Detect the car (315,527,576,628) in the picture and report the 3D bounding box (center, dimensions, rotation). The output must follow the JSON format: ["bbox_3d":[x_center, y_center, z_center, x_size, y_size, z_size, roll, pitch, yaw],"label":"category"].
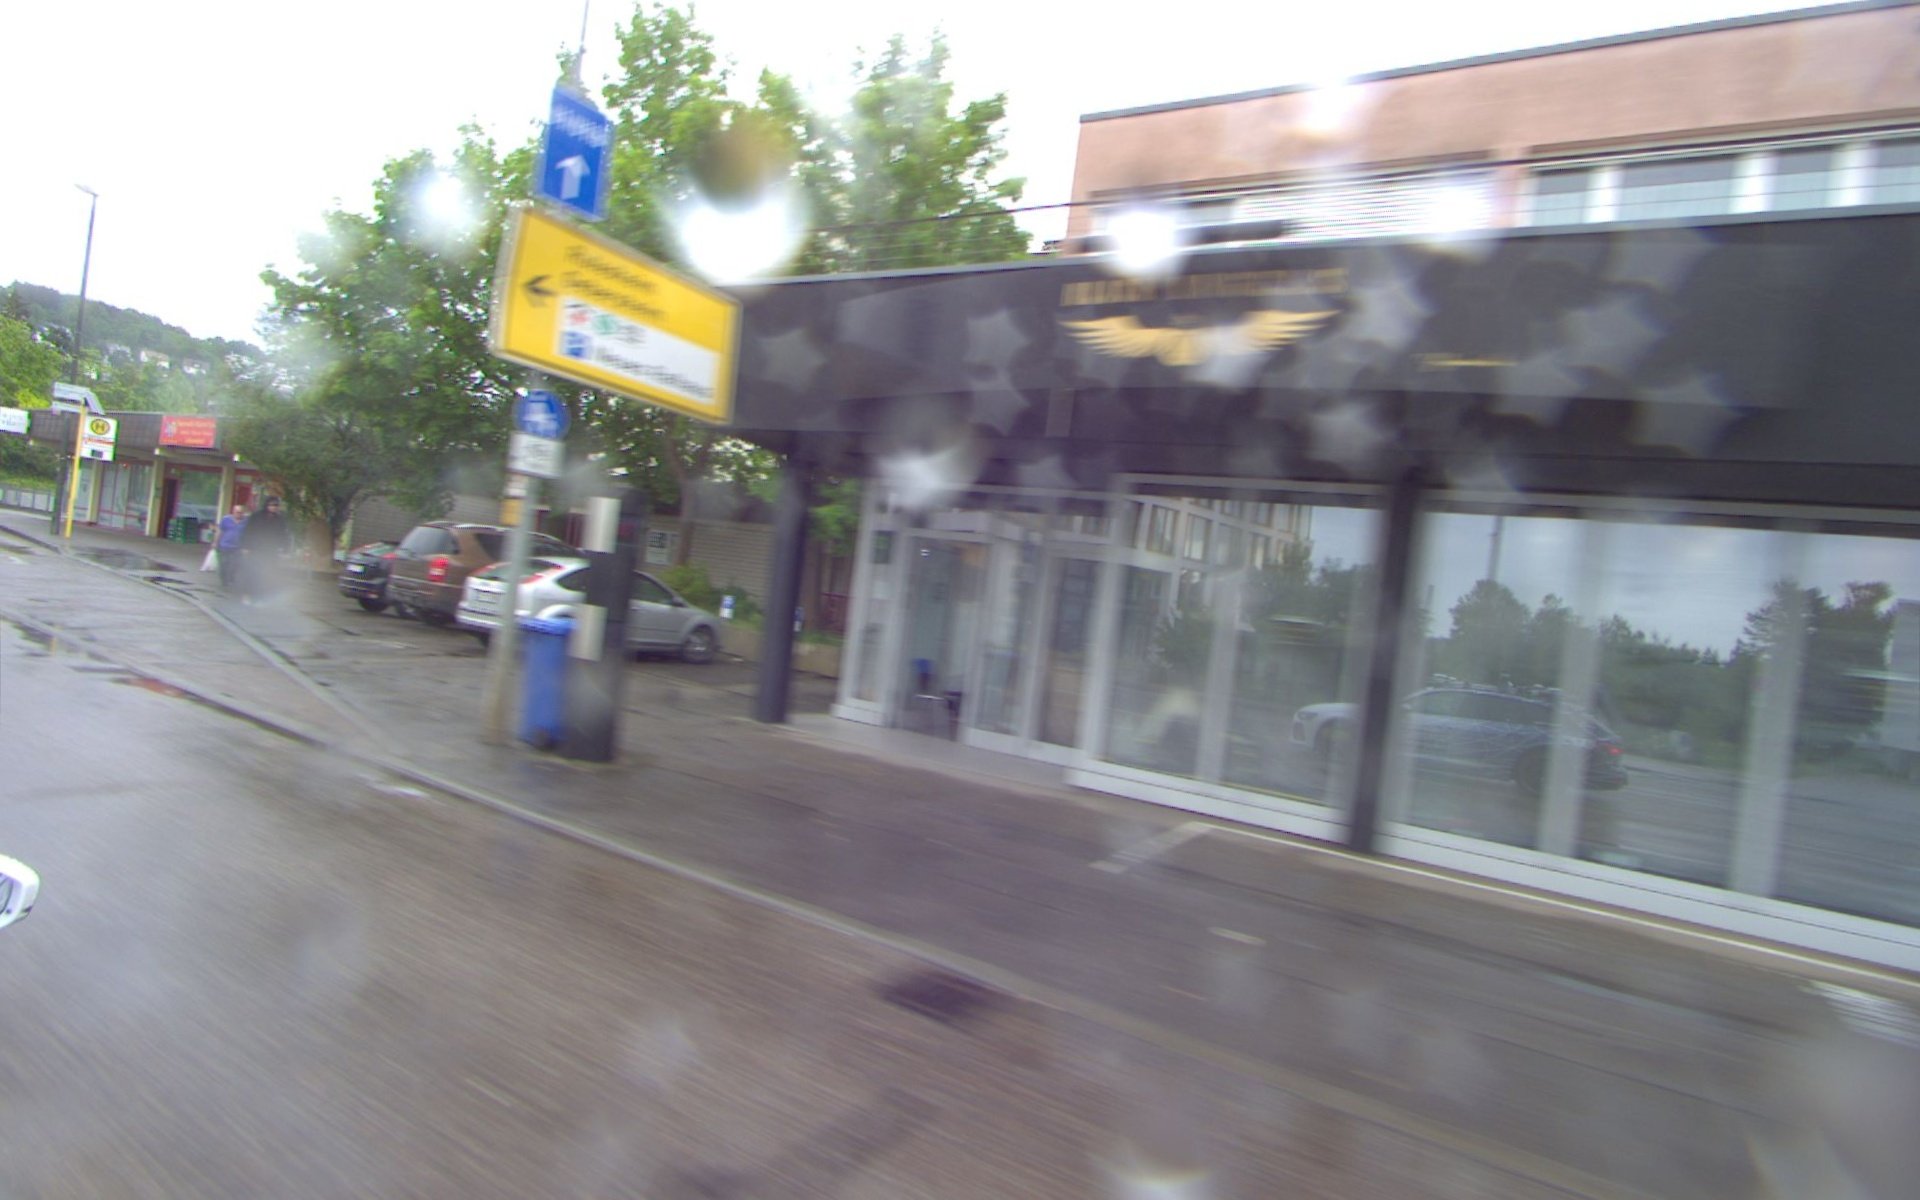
[{"bbox_3d":[-9.941,-0.378,19.747,1.773,1.472,4.152,7,0,32],"label":"car"}]

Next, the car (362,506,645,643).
[{"bbox_3d":[-8.002,-0.377,17.966,1.847,1.894,4.095,7,0,35],"label":"car"}]

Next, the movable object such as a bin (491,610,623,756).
[{"bbox_3d":[-3.388,0.686,8.466,0.687,1.088,0.636,9,2,34],"label":"movable object such as a bin"}]

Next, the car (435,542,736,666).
[{"bbox_3d":[-5.627,0.137,15.562,1.719,1.465,3.988,7,0,35],"label":"car"}]

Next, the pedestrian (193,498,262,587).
[{"bbox_3d":[-15.670,-1.222,21.526,0.747,1.759,0.875,8,2,32],"label":"pedestrian"}]

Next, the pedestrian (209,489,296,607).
[{"bbox_3d":[-11.871,-0.854,16.900,0.781,1.844,0.711,5,0,4],"label":"pedestrian"}]
